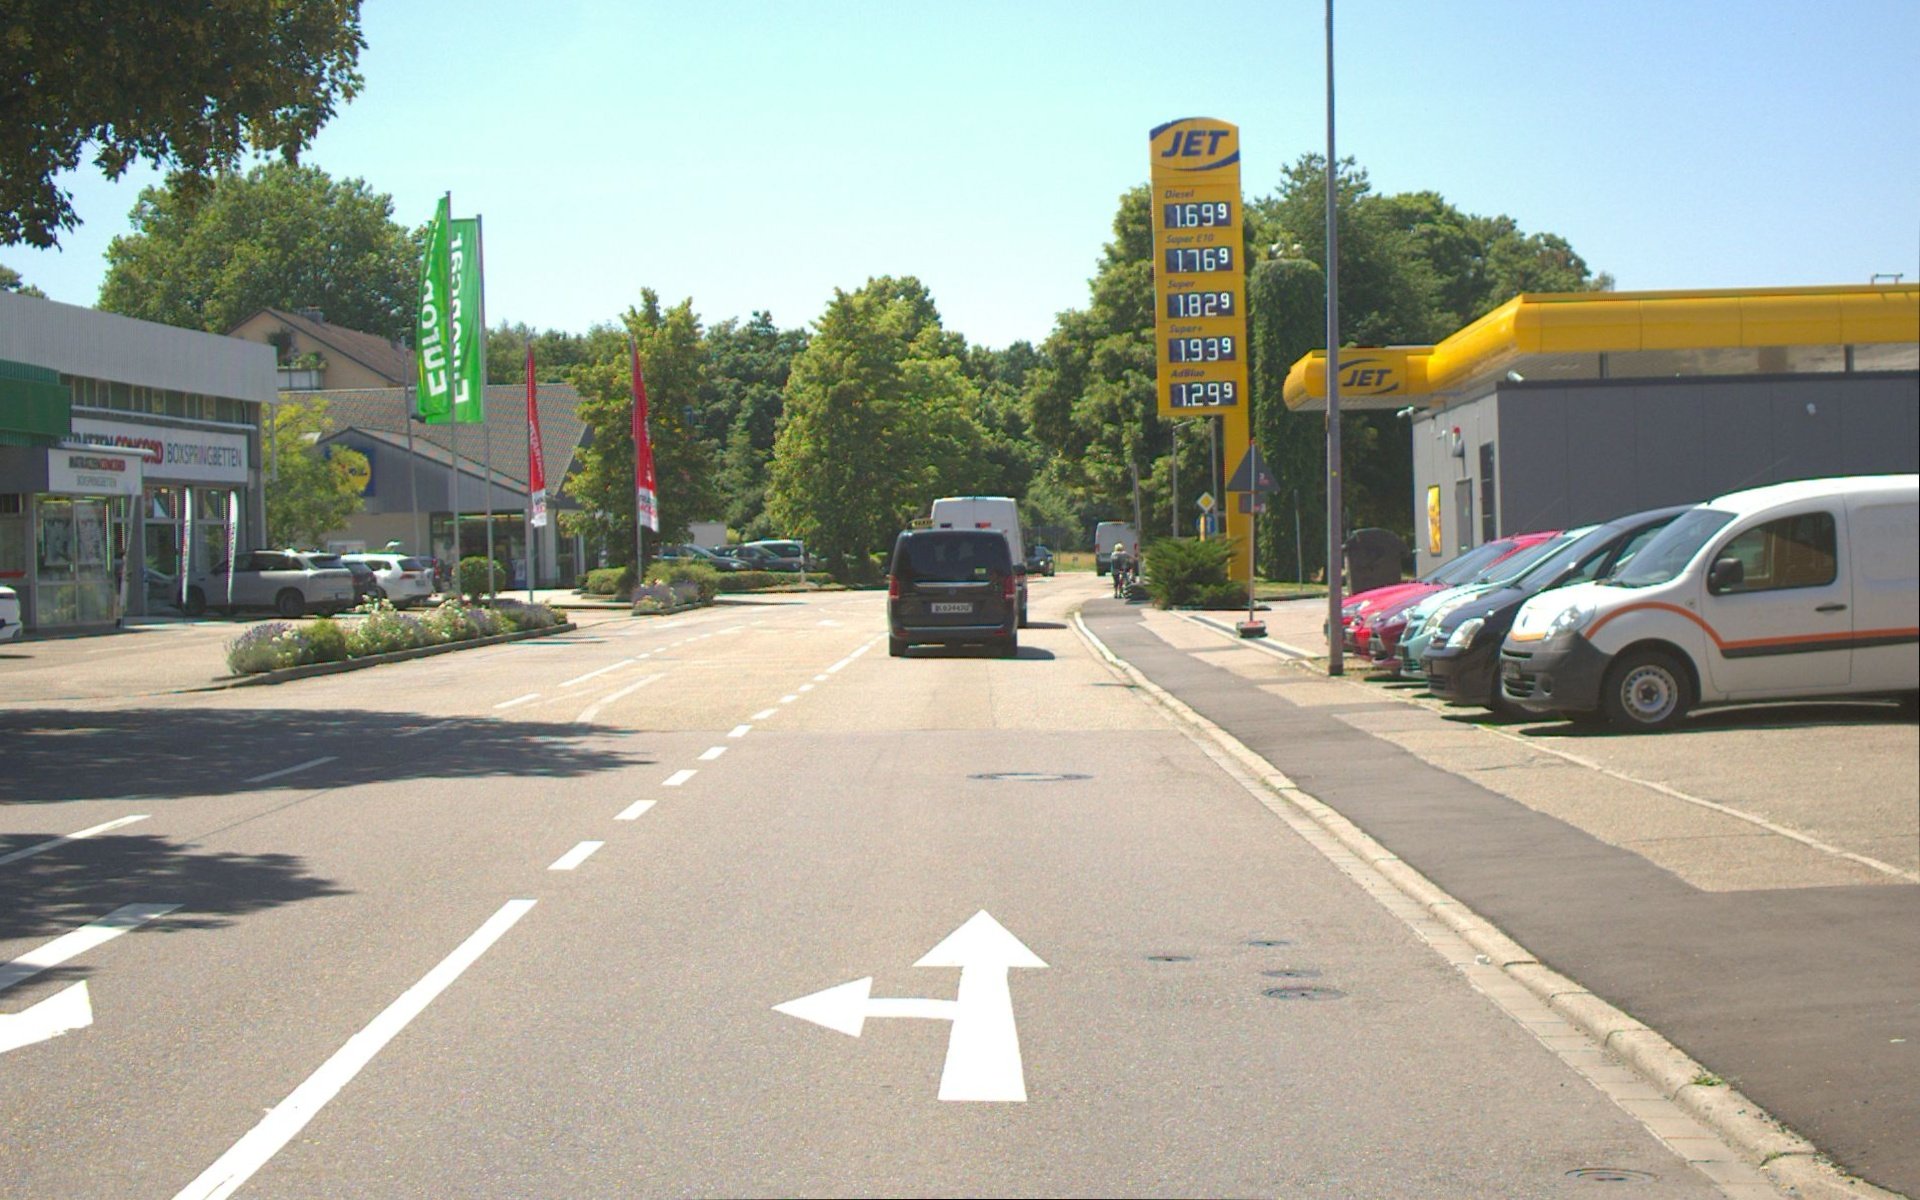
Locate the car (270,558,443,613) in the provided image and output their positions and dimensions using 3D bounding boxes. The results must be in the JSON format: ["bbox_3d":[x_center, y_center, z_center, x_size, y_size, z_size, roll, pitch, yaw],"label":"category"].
[{"bbox_3d":[-16.440,-0.400,93.715,4.187,1.441,1.978,0,1,17],"label":"car"}]

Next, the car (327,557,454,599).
[{"bbox_3d":[-20.915,-0.796,126.368,4.312,1.525,1.827,0,0,1],"label":"car"}]

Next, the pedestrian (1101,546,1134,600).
[{"bbox_3d":[4.172,-0.708,91.061,0.769,1.416,0.867,0,1,9],"label":"pedestrian"}]

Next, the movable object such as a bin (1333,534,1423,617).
[{"bbox_3d":[7.608,-0.449,62.610,1.434,1.433,1.468,-2,1,2],"label":"movable object such as a bin"}]

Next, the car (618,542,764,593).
[{"bbox_3d":[-9.335,-1.134,119.629,4.709,1.756,2.097,0,0,9],"label":"car"}]

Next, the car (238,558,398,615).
[{"bbox_3d":[-16.965,-0.365,90.907,3.629,1.469,1.998,0,1,20],"label":"car"}]

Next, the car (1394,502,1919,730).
[{"bbox_3d":[5.618,0.106,27.931,3.875,1.675,1.764,-2,1,-2],"label":"car"}]

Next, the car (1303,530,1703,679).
[{"bbox_3d":[6.155,0.035,39.319,4.224,1.529,1.958,-2,1,0],"label":"car"}]

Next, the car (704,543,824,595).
[{"bbox_3d":[-7.377,-1.167,129.791,4.357,1.973,1.905,0,0,3],"label":"car"}]

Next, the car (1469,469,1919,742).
[{"bbox_3d":[6.081,0.007,25.831,4.133,1.931,1.808,-1,1,-5],"label":"car"}]

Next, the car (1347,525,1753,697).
[{"bbox_3d":[5.887,0.086,34.546,3.684,1.561,1.750,-2,1,-3],"label":"car"}]

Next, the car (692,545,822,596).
[{"bbox_3d":[-7.489,-1.088,127.075,4.387,1.839,2.102,0,0,11],"label":"car"}]

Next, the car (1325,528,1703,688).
[{"bbox_3d":[5.900,0.062,36.853,3.684,1.561,1.709,-2,1,-2],"label":"car"}]

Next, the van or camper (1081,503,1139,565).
[{"bbox_3d":[7.197,-3.141,165.153,2.632,2.919,5.206,1,0,1],"label":"van or camper"}]

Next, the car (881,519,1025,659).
[{"bbox_3d":[-0.103,-0.184,50.992,1.993,1.946,5.005,1,1,0],"label":"car"}]

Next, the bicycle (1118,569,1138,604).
[{"bbox_3d":[4.443,-0.367,91.003,0.378,0.909,1.597,0,1,8],"label":"bicycle"}]

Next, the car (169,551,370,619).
[{"bbox_3d":[-17.225,-0.380,85.808,4.535,1.658,1.998,0,1,20],"label":"car"}]

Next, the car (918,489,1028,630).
[{"bbox_3d":[0.294,-0.812,69.025,2.078,2.693,4.666,1,1,1],"label":"car"}]

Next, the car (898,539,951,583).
[{"bbox_3d":[-1.285,-1.449,126.520,1.762,1.522,4.138,-2,1,1],"label":"car"}]

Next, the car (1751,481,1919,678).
[{"bbox_3d":[10.462,-0.159,34.844,4.339,1.890,1.972,2,1,-2],"label":"car"}]

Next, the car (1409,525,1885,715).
[{"bbox_3d":[5.967,0.149,30.191,3.792,1.504,1.833,-2,1,1],"label":"car"}]

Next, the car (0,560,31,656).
[{"bbox_3d":[-16.341,0.149,51.741,4.339,1.434,1.940,-1,1,-21],"label":"car"}]

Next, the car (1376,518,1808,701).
[{"bbox_3d":[5.887,0.067,32.277,3.684,1.561,1.642,-2,1,-1],"label":"car"}]
